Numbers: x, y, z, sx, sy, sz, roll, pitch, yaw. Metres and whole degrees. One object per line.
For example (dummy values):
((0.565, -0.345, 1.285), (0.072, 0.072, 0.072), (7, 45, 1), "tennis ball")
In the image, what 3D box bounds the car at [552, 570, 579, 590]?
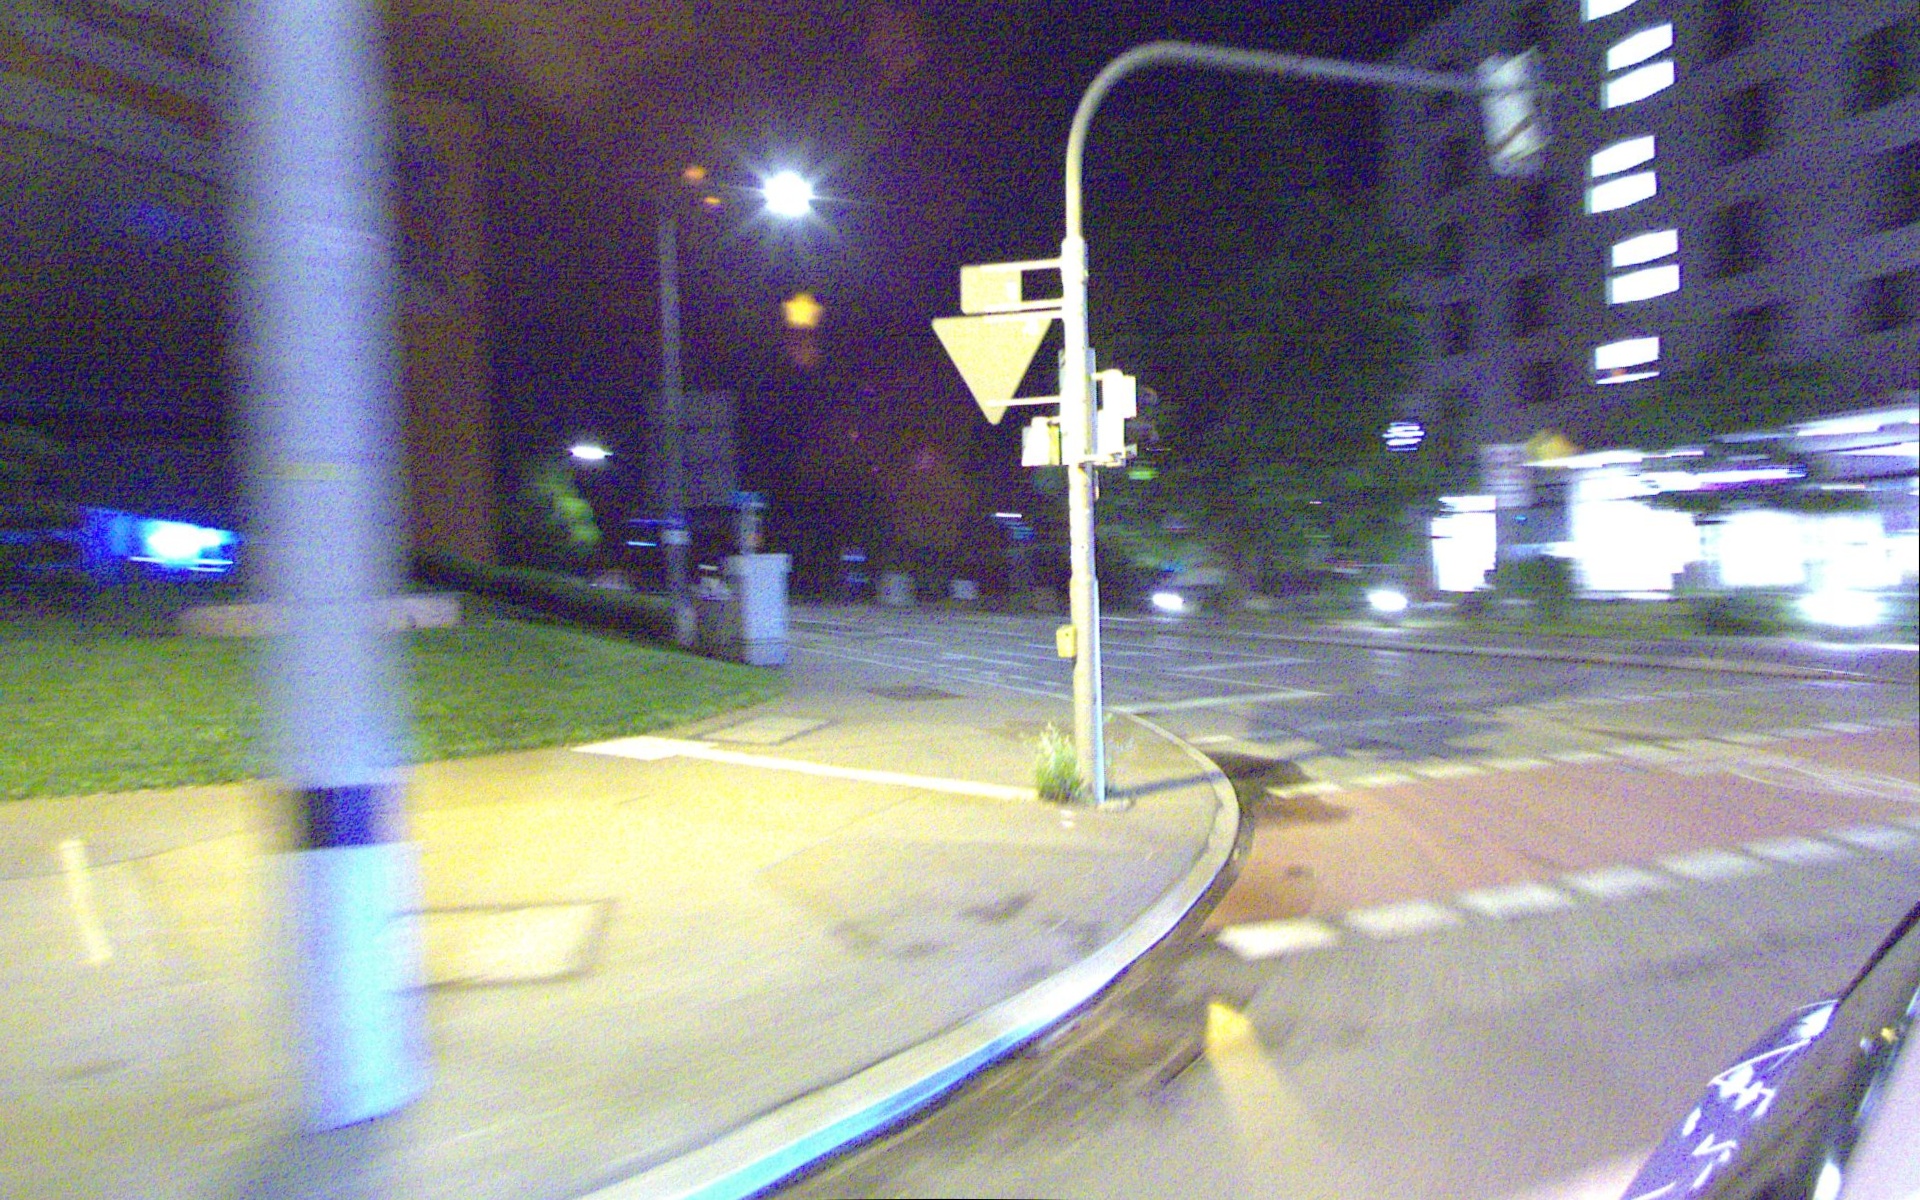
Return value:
((-34.517, -1.774, 88.676), (1.958, 1.667, 4.009), (0, 1, -17), "car")

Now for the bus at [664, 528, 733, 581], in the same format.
((-37.248, -6.347, 143.637), (6.016, 7.024, 14.803), (-2, 1, -28), "bus")

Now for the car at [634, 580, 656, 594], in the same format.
((-35.206, -1.471, 113.093), (1.826, 1.511, 4.088), (-2, 1, -24), "car")

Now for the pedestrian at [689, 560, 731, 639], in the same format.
((-6.160, -0.019, 24.886), (0.803, 1.888, 1.036), (-1, 1, -24), "pedestrian")
